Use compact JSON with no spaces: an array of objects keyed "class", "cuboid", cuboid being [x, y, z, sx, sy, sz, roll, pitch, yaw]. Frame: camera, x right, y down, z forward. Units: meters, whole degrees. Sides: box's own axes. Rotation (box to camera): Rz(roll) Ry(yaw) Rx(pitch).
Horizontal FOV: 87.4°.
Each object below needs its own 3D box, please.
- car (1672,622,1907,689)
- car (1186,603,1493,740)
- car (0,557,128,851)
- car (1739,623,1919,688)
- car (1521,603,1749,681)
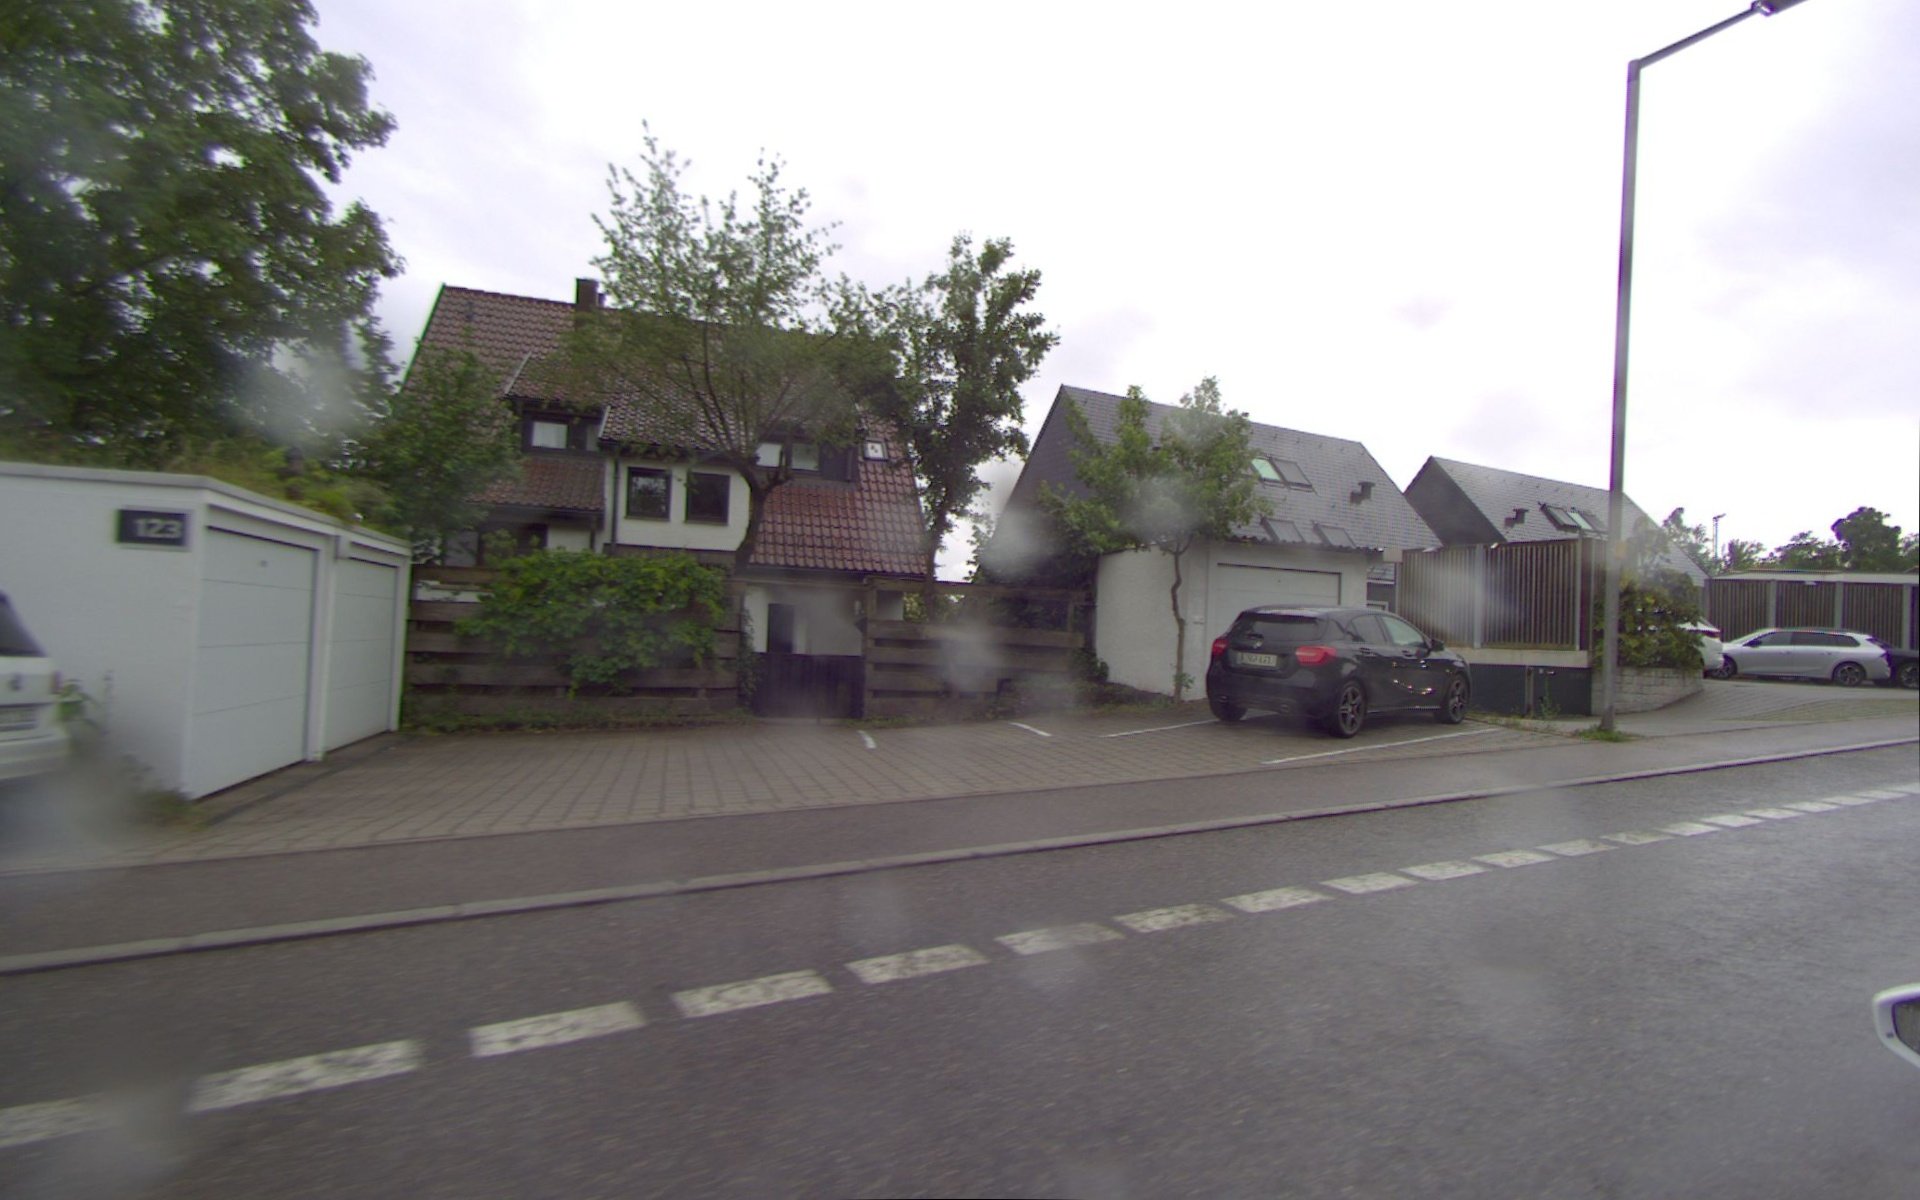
[{"class":"car","cuboid":[21.959,1.424,26.807,4.444,1.461,1.761,2,0,21]},{"class":"car","cuboid":[4.913,0.806,12.741,4.225,1.424,1.818,2,0,-40]},{"class":"car","cuboid":[-7.298,0.505,5.133,4.318,1.574,1.704,2,0,-17]},{"class":"car","cuboid":[25.005,1.549,28.535,4.213,1.622,1.836,1,0,25]},{"class":"car","cuboid":[15.400,0.913,23.172,3.978,1.595,1.942,1,0,20]}]
